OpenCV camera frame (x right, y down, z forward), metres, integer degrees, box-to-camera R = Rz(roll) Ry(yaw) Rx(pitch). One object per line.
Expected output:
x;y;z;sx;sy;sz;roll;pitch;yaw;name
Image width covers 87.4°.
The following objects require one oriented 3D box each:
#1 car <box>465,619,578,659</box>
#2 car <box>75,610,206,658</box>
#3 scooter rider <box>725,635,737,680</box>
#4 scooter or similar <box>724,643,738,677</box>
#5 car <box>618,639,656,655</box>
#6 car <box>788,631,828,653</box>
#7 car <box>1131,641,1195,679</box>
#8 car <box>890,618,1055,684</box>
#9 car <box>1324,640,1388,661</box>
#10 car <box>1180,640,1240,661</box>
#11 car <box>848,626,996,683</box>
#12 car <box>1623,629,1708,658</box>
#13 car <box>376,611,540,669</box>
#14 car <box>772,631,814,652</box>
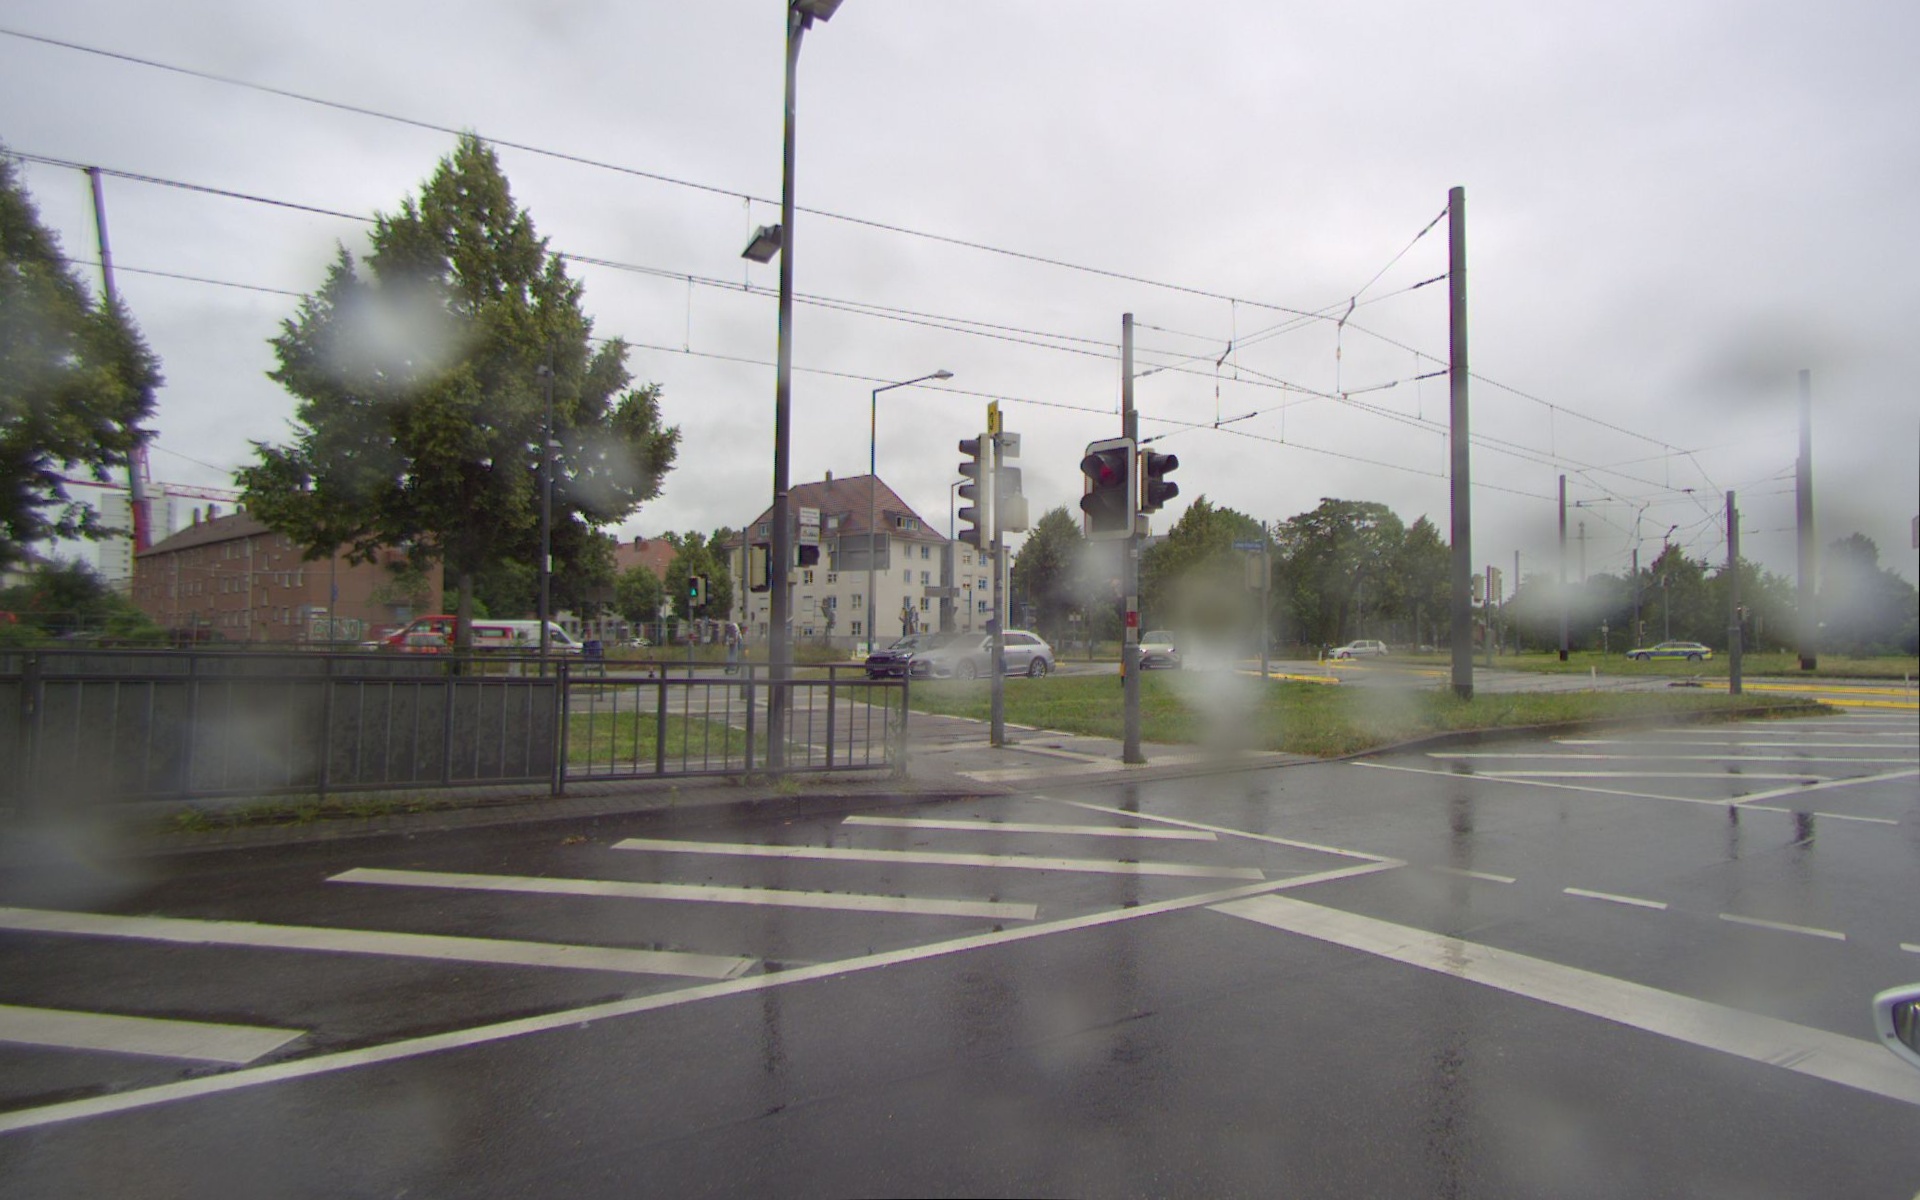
-25.922;2.323;59.625;6.004;2.308;1.617;1;-2;-18;car
-45.308;1.896;55.747;5.441;2.485;1.980;3;0;-36;car
-8.869;2.218;38.885;0.426;1.731;0.532;0;-3;-10;scooter rider
-8.863;2.301;38.866;0.439;1.276;1.588;0;-2;-9;scooter or similar
-32.534;4.700;101.142;4.559;1.473;1.614;-1;-2;44;car
-12.792;3.539;84.387;1.663;1.639;3.796;2;0;-37;car
8.517;2.456;41.881;1.593;1.473;4.108;0;-2;27;car
0.398;1.361;27.379;4.371;1.649;1.975;2;-2;-42;car
28.331;3.631;71.908;3.911;1.473;1.623;0;-2;-4;car
18.016;3.620;72.545;3.912;1.473;1.622;1;-2;-5;car
-1.121;1.642;31.143;4.371;1.649;1.975;2;-2;-42;car
48.067;2.945;68.536;4.697;1.875;1.994;-1;-2;35;car
-22.303;1.794;44.942;6.389;2.502;1.616;1;-2;-20;car
-14.275;3.545;85.914;3.428;1.563;1.616;2;0;38;car
